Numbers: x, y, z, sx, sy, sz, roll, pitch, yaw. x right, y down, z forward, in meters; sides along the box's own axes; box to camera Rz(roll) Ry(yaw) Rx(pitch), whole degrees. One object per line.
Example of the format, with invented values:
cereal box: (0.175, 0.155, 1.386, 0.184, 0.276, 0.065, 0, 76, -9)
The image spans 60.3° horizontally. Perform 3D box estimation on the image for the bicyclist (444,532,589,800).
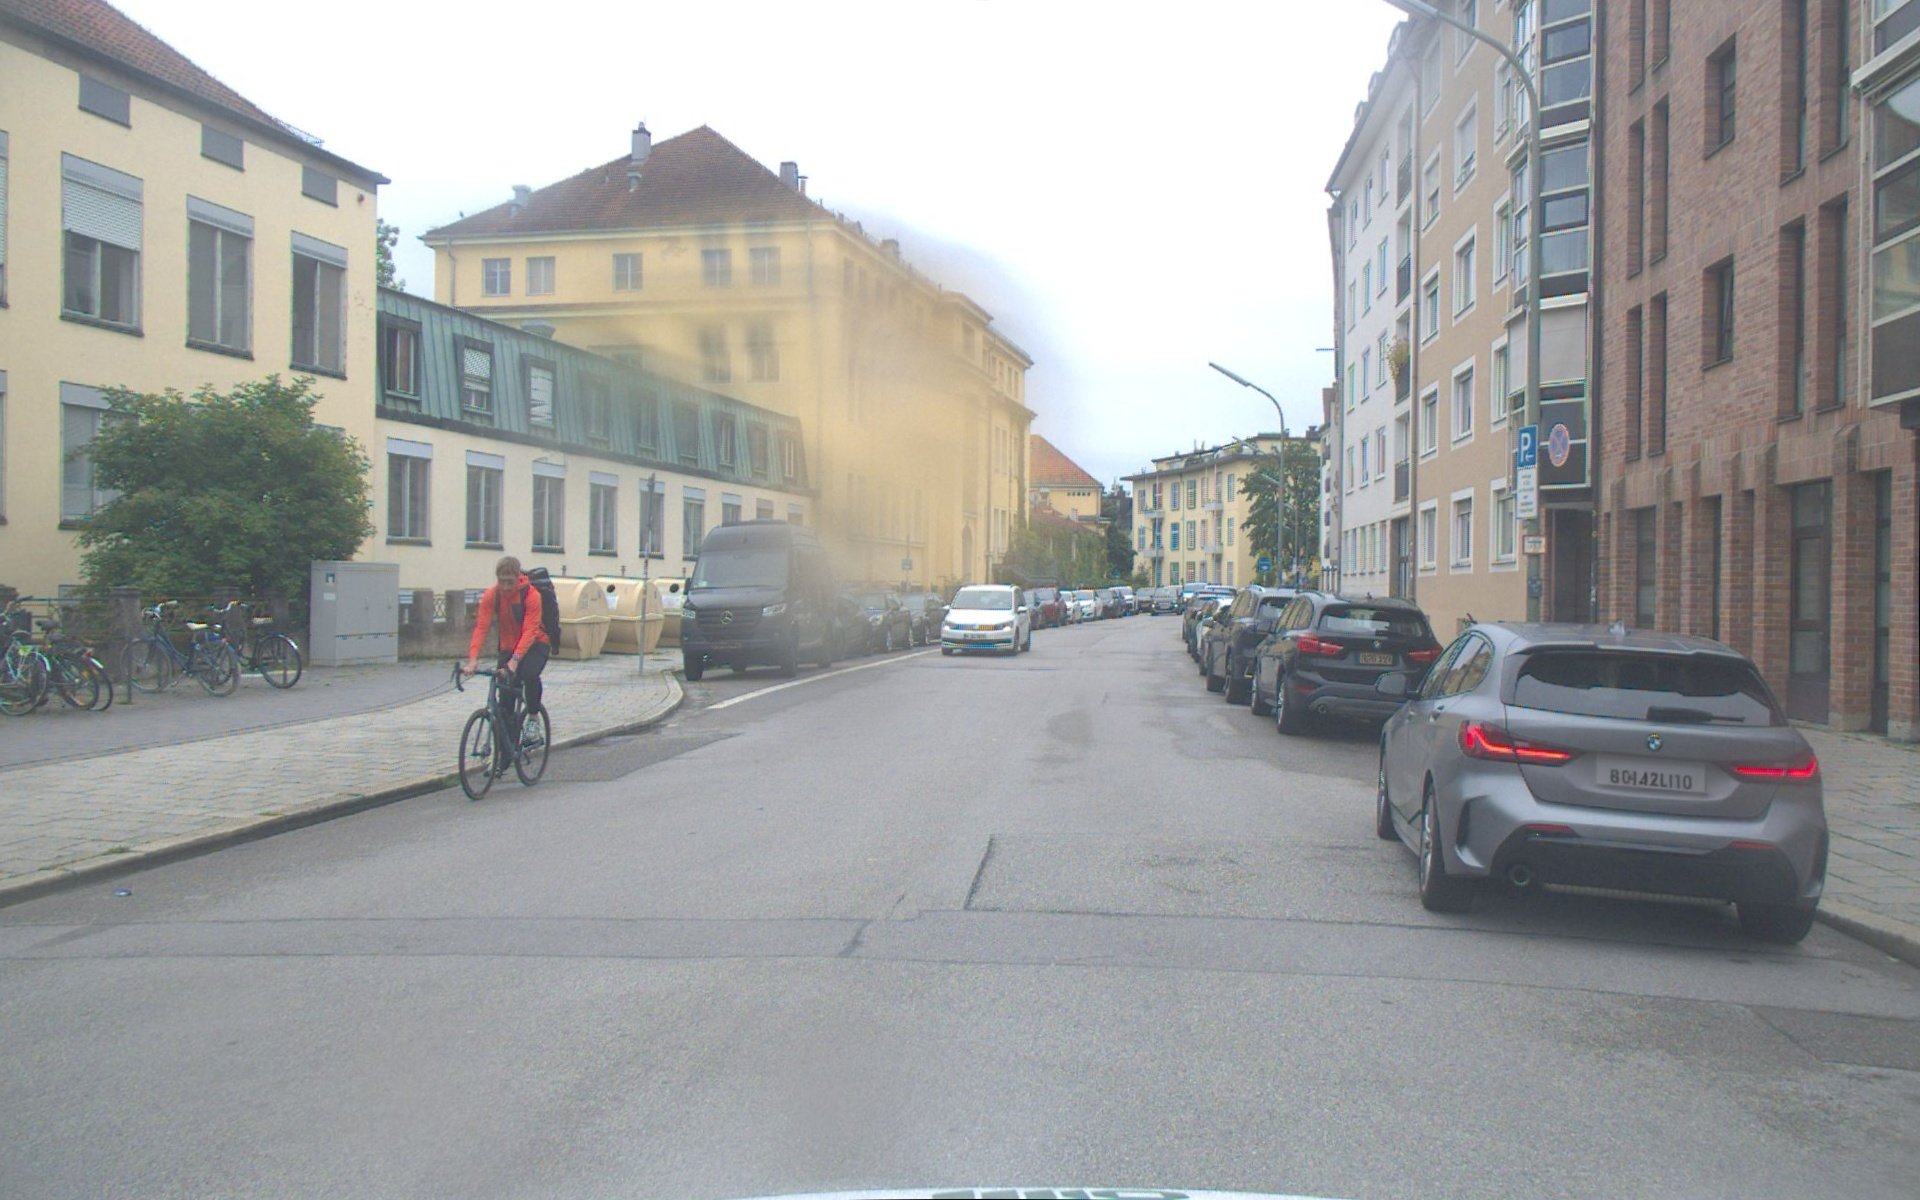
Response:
bicyclist: (-3.528, 0.513, 13.206, 0.750, 2.048, 0.768, -3, 0, 12)

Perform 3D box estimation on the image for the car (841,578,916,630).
car: (-2.848, 0.117, 58.630, 1.683, 1.689, 3.752, 2, 2, 13)

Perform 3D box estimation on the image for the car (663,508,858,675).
car: (-3.530, -0.128, 30.659, 2.370, 2.762, 5.956, -1, 0, 5)

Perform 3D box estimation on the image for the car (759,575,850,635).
car: (-4.749, 0.133, 51.048, 1.683, 1.689, 3.752, 2, 2, 13)

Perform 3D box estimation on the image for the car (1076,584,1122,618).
car: (7.153, 0.049, 84.707, 1.951, 1.575, 4.004, 2, 2, 9)

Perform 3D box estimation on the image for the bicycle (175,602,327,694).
bicycle: (-9.541, 0.628, 22.252, 1.864, 1.111, 0.678, 2, 2, 17)

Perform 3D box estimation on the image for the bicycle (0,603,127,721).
bicycle: (-10.239, 0.648, 18.055, 2.262, 1.154, 0.582, 2, 2, 17)

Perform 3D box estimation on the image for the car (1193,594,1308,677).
car: (5.872, 0.659, 33.899, 1.847, 1.501, 4.746, 2, 1, 5)

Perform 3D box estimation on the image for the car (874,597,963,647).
car: (-1.115, 0.586, 46.438, 1.496, 1.222, 3.744, 2, 2, 14)

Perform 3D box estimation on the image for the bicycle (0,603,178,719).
bicycle: (-10.136, 0.669, 18.816, 2.434, 1.160, 0.637, 2, 2, 17)

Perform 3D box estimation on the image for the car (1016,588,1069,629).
car: (3.340, 0.320, 66.208, 1.661, 1.469, 3.512, 2, 2, 10)

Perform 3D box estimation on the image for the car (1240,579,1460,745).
car: (4.513, 0.630, 19.751, 1.792, 1.629, 4.268, 2, 2, 3)

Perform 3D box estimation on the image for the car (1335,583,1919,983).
car: (3.248, 0.715, 8.932, 1.884, 1.538, 4.395, 2, 1, 7)

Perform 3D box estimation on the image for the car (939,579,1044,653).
car: (0.825, 0.407, 39.775, 1.982, 1.650, 4.508, -1, -1, 8)

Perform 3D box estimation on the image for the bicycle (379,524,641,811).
bicycle: (-3.507, 0.463, 13.274, 0.732, 2.048, 2.850, -2, 1, 12)

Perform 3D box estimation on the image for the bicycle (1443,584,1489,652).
bicycle: (10.580, 0.347, 34.645, 0.458, 1.310, 2.677, 2, 2, 8)

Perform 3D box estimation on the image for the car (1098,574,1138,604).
car: (9.028, -0.641, 94.073, 1.951, 1.575, 4.004, 2, 2, 9)

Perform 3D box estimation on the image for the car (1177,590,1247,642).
car: (7.598, 0.446, 50.190, 1.847, 1.434, 4.434, 2, 1, 6)

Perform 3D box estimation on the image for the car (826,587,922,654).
car: (-2.132, 0.475, 41.889, 1.663, 1.478, 3.745, 2, 2, 9)

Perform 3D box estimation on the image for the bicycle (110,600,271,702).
bicycle: (-9.667, 0.627, 20.777, 1.915, 1.151, 0.573, 2, 2, 17)

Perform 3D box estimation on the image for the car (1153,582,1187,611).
car: (11.584, -0.200, 91.192, 1.661, 1.469, 3.512, 2, 2, 10)

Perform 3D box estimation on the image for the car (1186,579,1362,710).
car: (4.540, 0.565, 24.607, 1.923, 1.629, 4.674, 2, 2, 3)

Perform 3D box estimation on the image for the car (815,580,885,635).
car: (-3.647, 0.224, 55.344, 1.571, 1.689, 2.811, 2, 2, 13)

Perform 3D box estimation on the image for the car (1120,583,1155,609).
car: (11.538, -0.283, 107.526, 1.951, 1.575, 4.004, 2, 2, 9)

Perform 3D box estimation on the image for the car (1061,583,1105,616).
car: (5.907, -0.037, 79.132, 1.661, 1.469, 3.512, 2, 2, 11)
